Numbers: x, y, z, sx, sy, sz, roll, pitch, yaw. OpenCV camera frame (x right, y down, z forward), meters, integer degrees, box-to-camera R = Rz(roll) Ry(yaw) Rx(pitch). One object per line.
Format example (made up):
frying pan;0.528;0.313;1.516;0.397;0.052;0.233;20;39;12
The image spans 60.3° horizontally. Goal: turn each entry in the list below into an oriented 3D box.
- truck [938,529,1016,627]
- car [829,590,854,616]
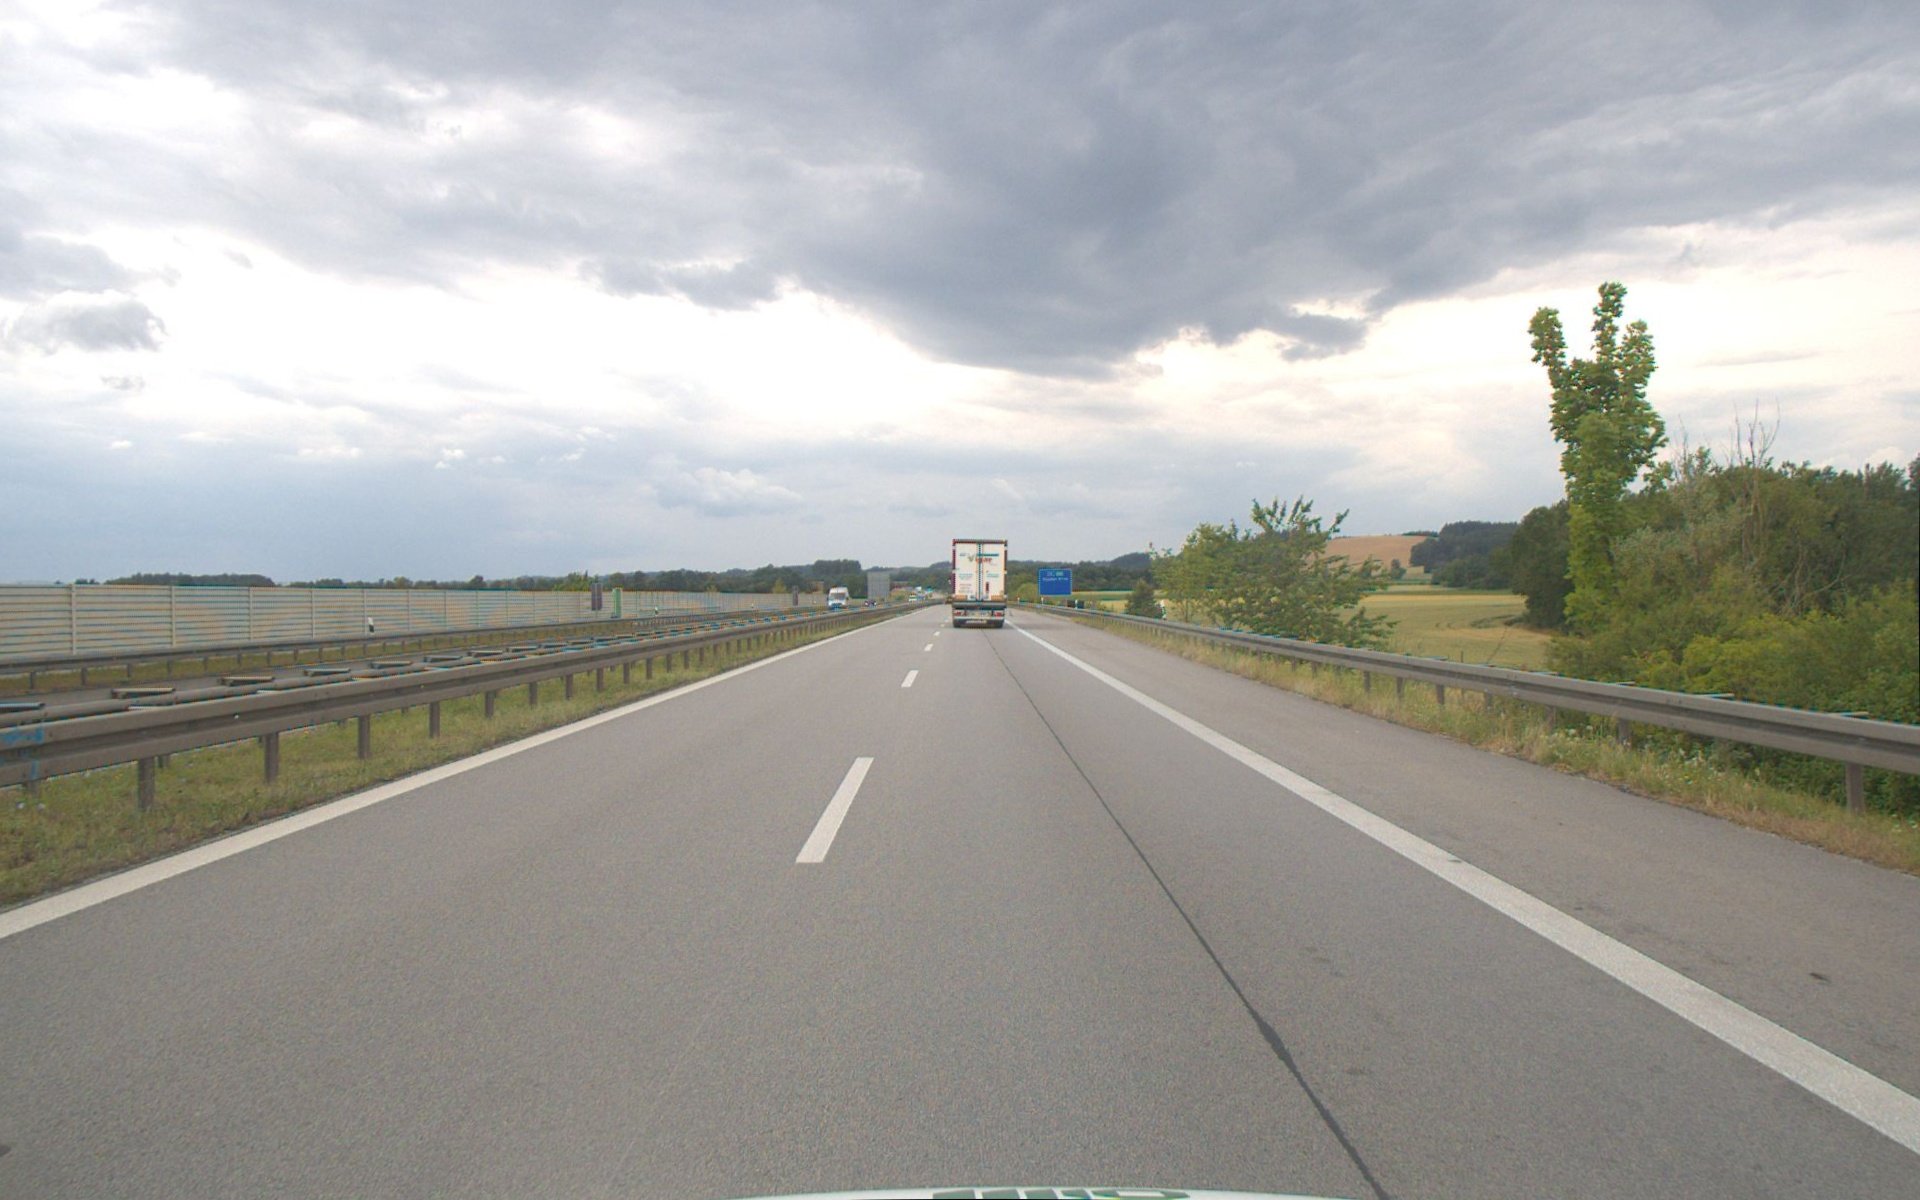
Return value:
truck;0.666;-1.052;84.158;3.598;4.489;16.338;0;0;-1
car;-12.536;0.349;175.535;2.028;2.648;6.288;-3;0;0
